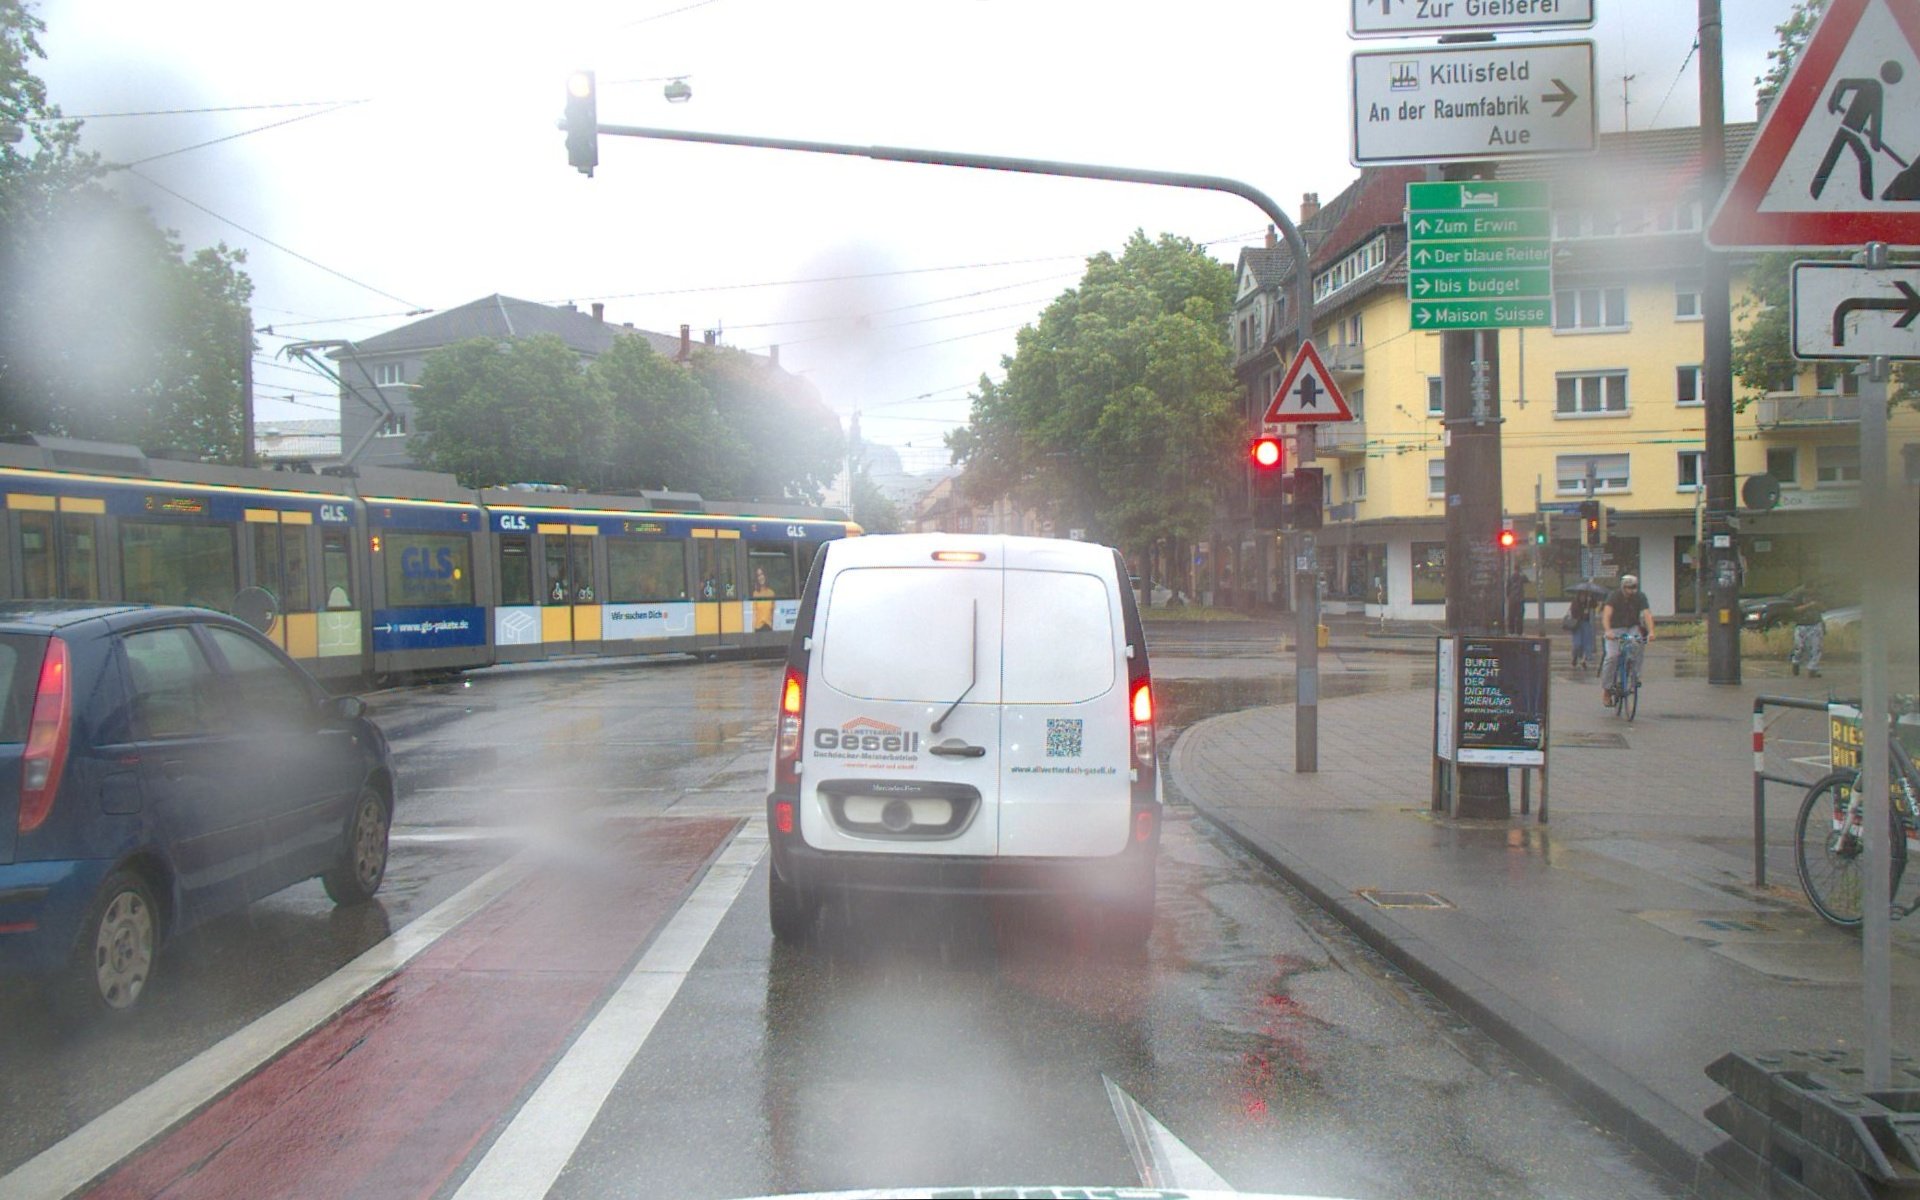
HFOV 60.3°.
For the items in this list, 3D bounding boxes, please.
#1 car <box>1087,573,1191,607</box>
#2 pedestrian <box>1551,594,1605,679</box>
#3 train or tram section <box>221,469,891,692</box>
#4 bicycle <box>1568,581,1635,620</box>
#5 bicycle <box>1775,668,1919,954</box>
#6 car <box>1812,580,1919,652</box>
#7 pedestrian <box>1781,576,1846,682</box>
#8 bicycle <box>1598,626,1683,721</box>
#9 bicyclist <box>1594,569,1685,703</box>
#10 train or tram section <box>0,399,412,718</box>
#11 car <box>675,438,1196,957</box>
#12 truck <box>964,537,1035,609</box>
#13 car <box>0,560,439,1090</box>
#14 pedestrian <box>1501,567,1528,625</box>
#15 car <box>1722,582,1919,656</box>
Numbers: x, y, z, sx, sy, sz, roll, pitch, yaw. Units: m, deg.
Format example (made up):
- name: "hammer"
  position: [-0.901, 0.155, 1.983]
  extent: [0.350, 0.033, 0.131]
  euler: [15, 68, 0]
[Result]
- name: "car"
  position: [7.460, -0.419, 69.026]
  extent: [4.088, 1.362, 1.518]
  euler: [0, 1, -8]
- name: "pedestrian"
  position: [11.420, 0.664, 30.562]
  extent: [0.809, 1.561, 0.614]
  euler: [1, 0, -39]
- name: "train or tram section"
  position: [-6.971, -0.265, 33.406]
  extent: [3.474, 3.472, 15.475]
  euler: [1, 0, 29]
- name: "bicycle"
  position: [21.547, 0.006, 55.599]
  extent: [2.056, 1.283, 0.532]
  euler: [0, 1, 14]
- name: "bicycle"
  position: [4.253, 0.913, 7.088]
  extent: [0.503, 1.126, 2.017]
  euler: [3, 0, 1]
- name: "car"
  position: [20.871, 0.336, 35.979]
  extent: [3.854, 1.516, 1.808]
  euler: [0, 1, 15]
- name: "pedestrian"
  position: [13.930, 0.457, 27.019]
  extent: [0.886, 1.698, 1.019]
  euler: [0, 0, 24]
- name: "bicycle"
  position: [8.365, 0.883, 20.402]
  extent: [0.449, 1.045, 1.903]
  euler: [0, 1, 6]
- name: "bicyclist"
  position: [8.363, 0.433, 20.387]
  extent: [0.859, 1.611, 0.861]
  euler: [0, 0, 9]
- name: "train or tram section"
  position: [-12.113, -0.496, 20.468]
  extent: [3.438, 3.574, 13.670]
  euler: [1, 0, 13]
- name: "car"
  position: [-0.132, 0.390, 9.037]
  extent: [2.058, 2.047, 4.962]
  euler: [0, 0, -1]
- name: "truck"
  position: [2.902, -1.988, 128.521]
  extent: [3.403, 5.176, 15.285]
  euler: [0, 0, -7]
- name: "car"
  position: [-3.609, 0.675, 6.914]
  extent: [1.692, 1.606, 3.820]
  euler: [0, 0, -1]
- name: "pedestrian"
  position: [14.653, -0.109, 43.702]
  extent: [0.608, 1.526, 0.552]
  euler: [0, 0, 26]
- name: "car"
  position: [20.857, 0.464, 39.082]
  extent: [4.832, 1.672, 2.001]
  euler: [0, -2, 11]
